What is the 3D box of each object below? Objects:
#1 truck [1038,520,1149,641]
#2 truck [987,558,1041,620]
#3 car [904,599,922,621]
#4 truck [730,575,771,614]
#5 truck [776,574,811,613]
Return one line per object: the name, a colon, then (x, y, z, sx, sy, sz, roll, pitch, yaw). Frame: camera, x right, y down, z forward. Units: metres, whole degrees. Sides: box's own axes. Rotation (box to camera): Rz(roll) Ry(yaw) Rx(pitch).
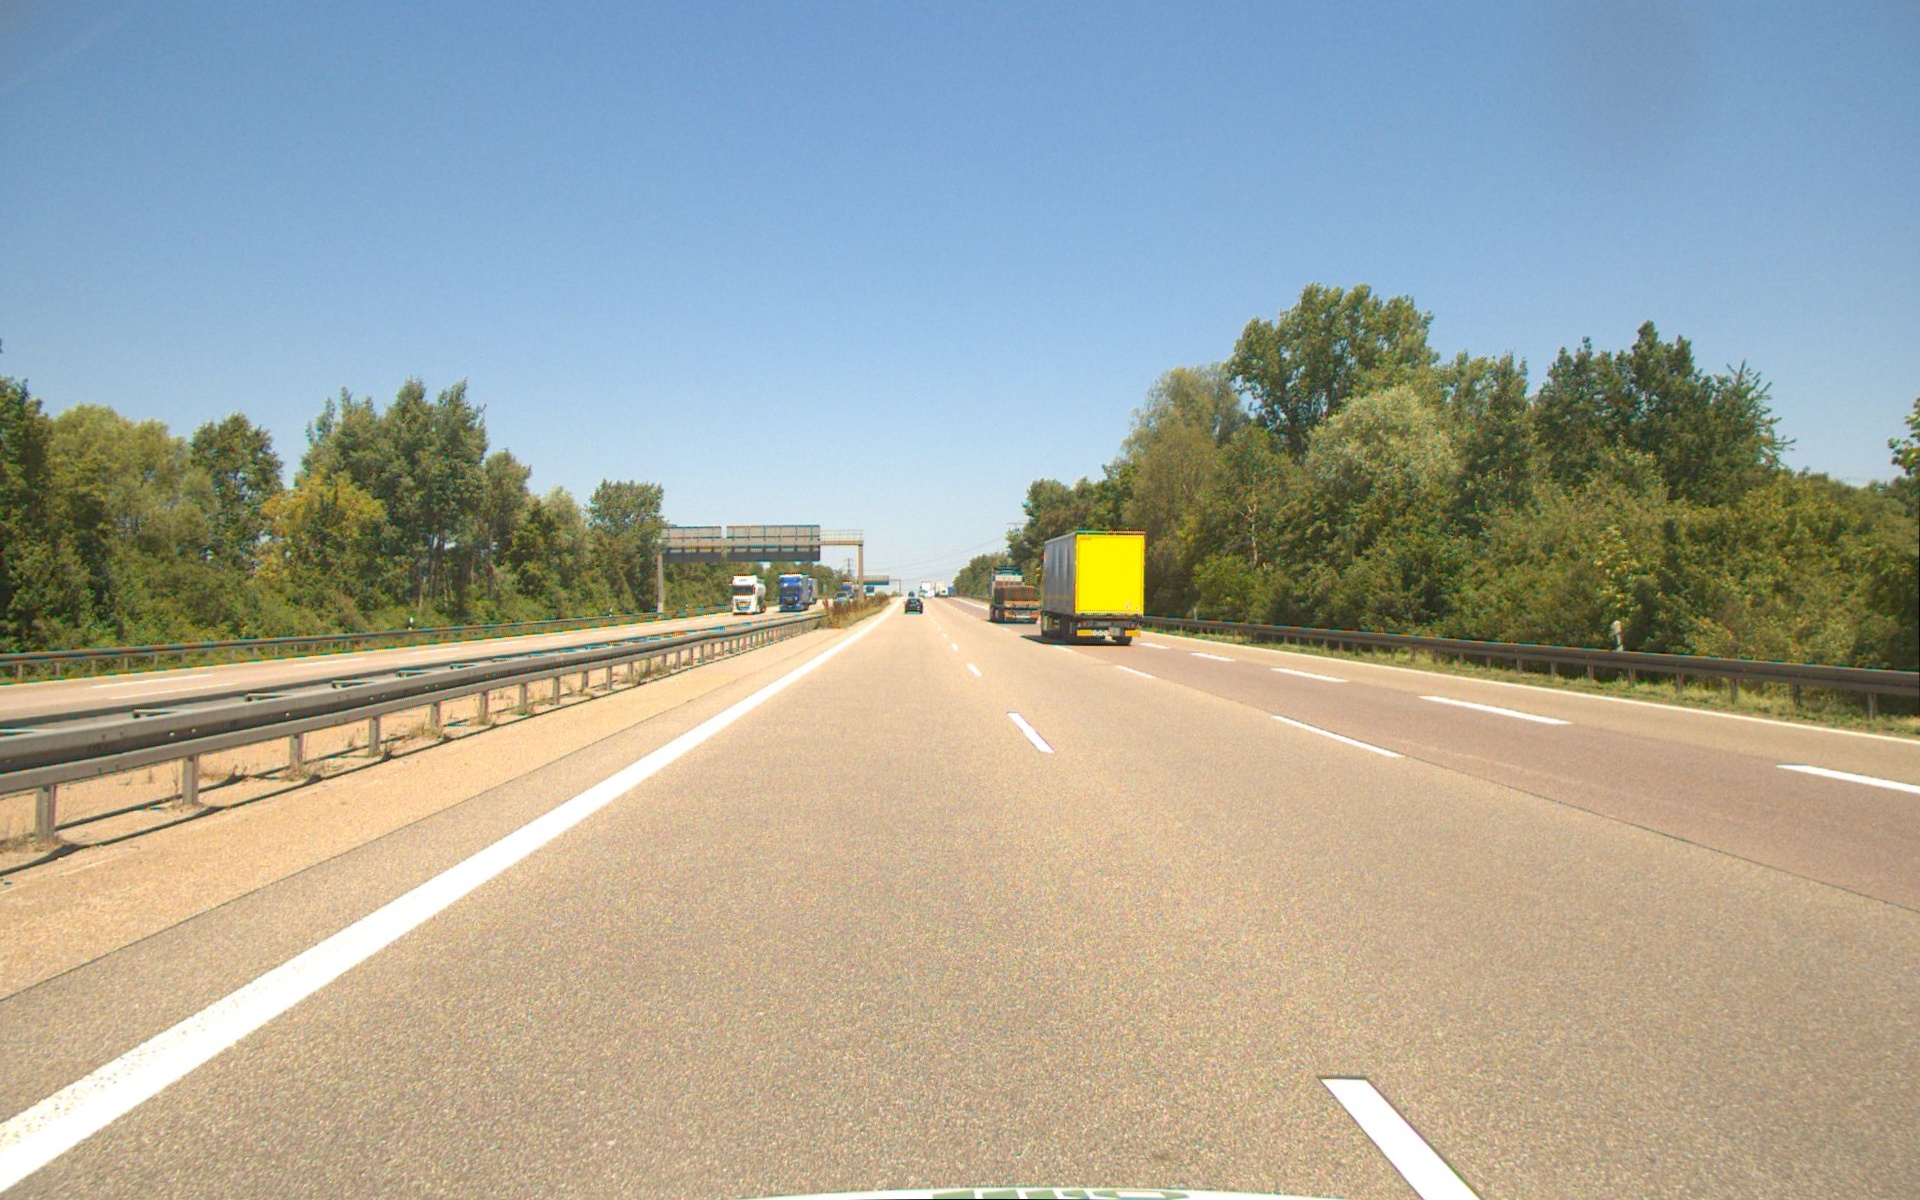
truck: (5.200, -0.673, 67.890, 2.787, 4.332, 16.786, -1, 0, -1)
truck: (3.703, -0.704, 117.134, 2.909, 4.026, 16.608, 1, 0, -1)
car: (-4.507, 0.976, 158.915, 1.755, 2.049, 3.886, 1, 0, -1)
truck: (-22.950, -0.568, 181.978, 2.896, 4.088, 15.814, -1, 0, -2)
truck: (-19.529, -0.759, 194.935, 2.896, 4.320, 17.174, -1, 0, -2)
